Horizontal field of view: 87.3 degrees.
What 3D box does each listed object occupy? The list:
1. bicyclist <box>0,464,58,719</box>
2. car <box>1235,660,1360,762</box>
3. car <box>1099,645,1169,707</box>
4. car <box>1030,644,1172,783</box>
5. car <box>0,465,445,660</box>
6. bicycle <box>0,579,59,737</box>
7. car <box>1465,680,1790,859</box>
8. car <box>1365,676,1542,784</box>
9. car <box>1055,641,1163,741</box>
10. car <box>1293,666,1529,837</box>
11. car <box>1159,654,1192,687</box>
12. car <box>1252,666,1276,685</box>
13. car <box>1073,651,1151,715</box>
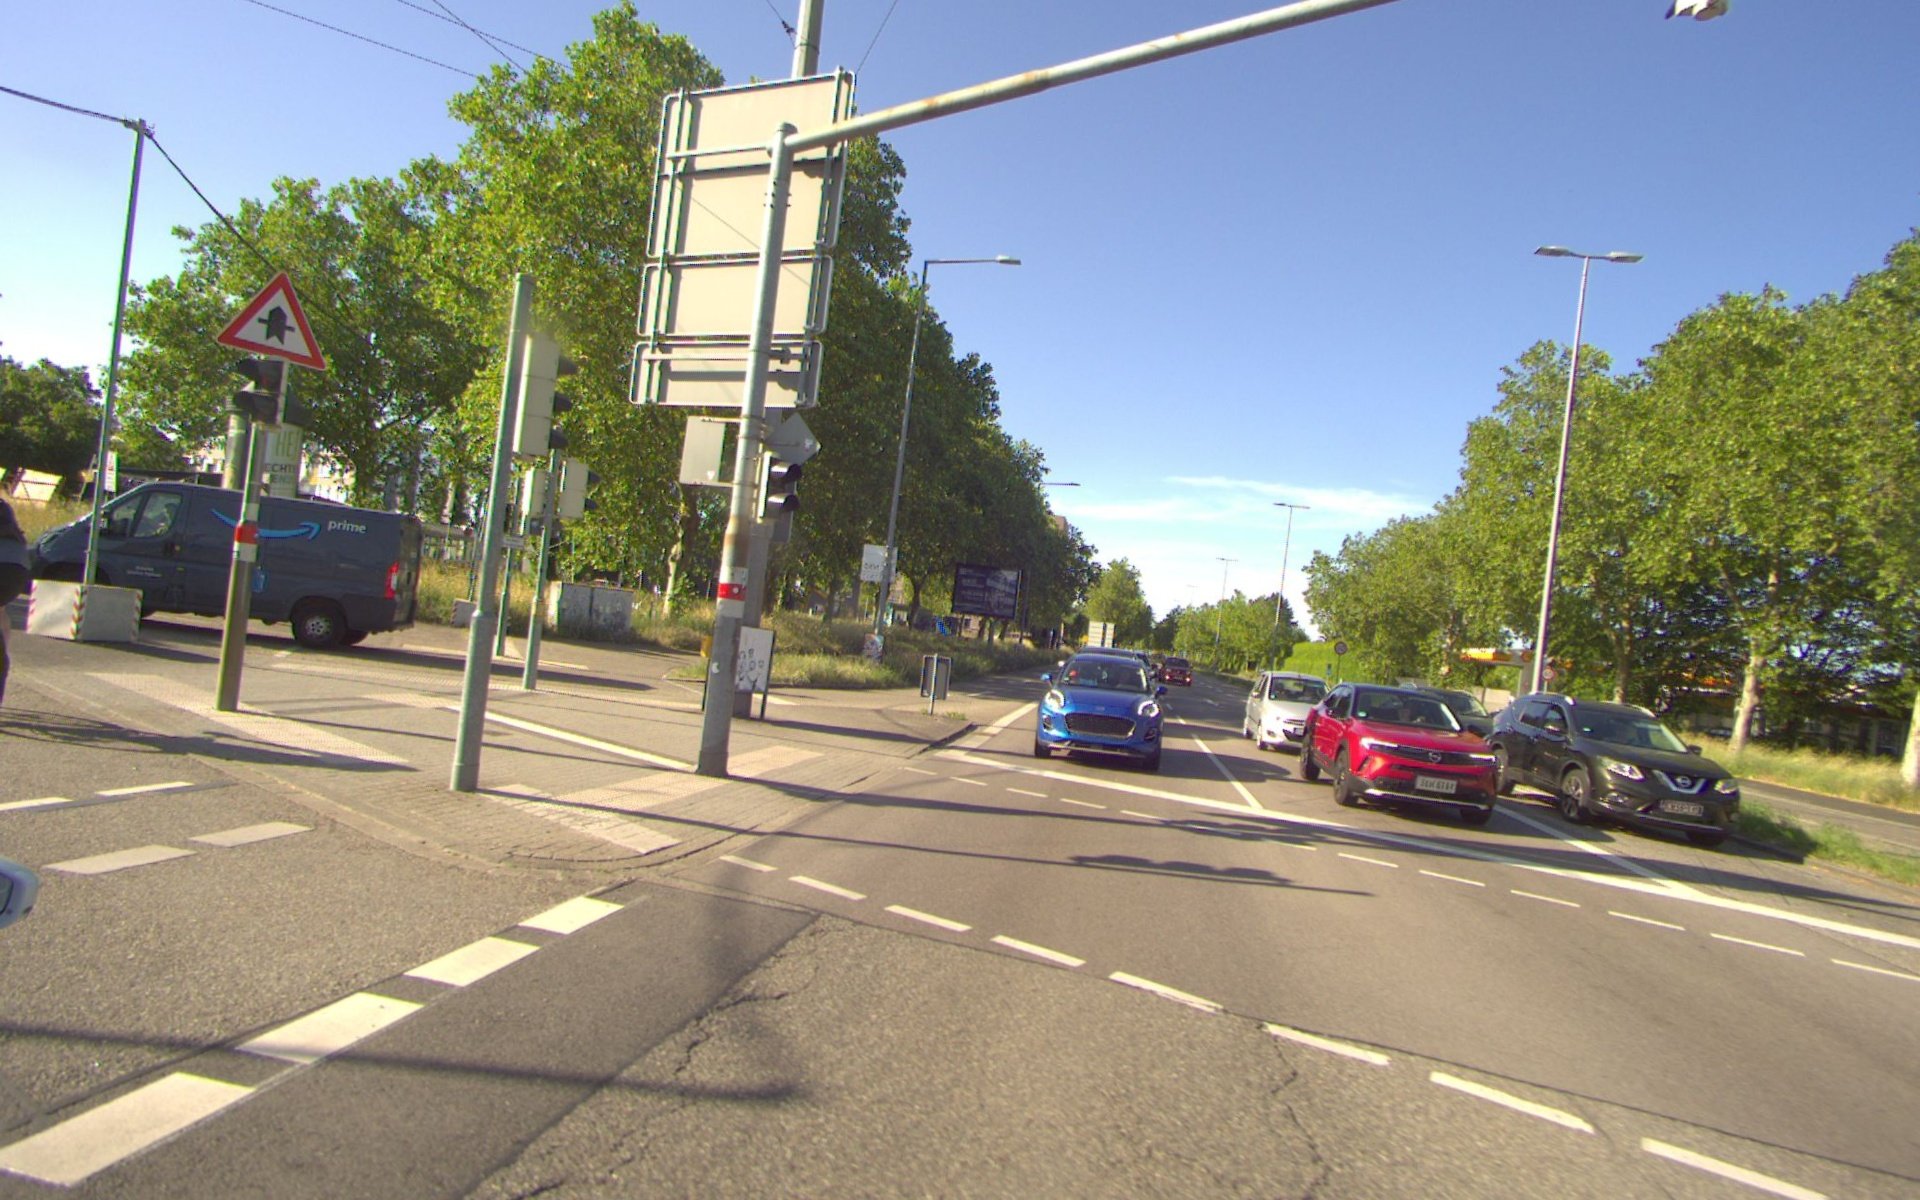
[{"bbox_3d":[-6.833,-0.095,6.901,0.918,1.700,0.615,7,0,34],"label":"bicyclist"},{"bbox_3d":[6.761,2.169,20.526,1.680,1.619,3.864,7,-1,10],"label":"car"},{"bbox_3d":[5.743,2.509,33.712,1.872,1.701,4.784,7,-3,7],"label":"car"},{"bbox_3d":[2.215,1.595,15.278,1.680,1.619,3.864,7,-1,11],"label":"car"},{"bbox_3d":[-11.069,-0.473,15.591,5.048,2.094,2.122,8,-1,-20],"label":"car"},{"bbox_3d":[-7.032,0.326,7.068,2.056,0.934,0.524,6,-1,35],"label":"bicycle"},{"bbox_3d":[9.167,2.216,14.392,1.884,1.731,4.499,7,-1,7],"label":"car"},{"bbox_3d":[10.173,2.617,21.131,1.962,1.637,4.004,7,-1,7],"label":"car"},{"bbox_3d":[3.136,1.870,21.803,1.898,1.698,4.179,7,-1,6],"label":"car"},{"bbox_3d":[5.783,1.848,13.467,1.782,1.619,4.094,7,-1,10],"label":"car"},{"bbox_3d":[12.343,4.015,57.648,1.346,1.635,3.212,7,-1,6],"label":"car"},{"bbox_3d":[33.464,8.319,110.795,1.792,1.724,3.778,8,-2,8],"label":"car"},{"bbox_3d":[4.339,2.344,29.353,1.898,1.424,4.574,7,-1,6],"label":"car"}]
